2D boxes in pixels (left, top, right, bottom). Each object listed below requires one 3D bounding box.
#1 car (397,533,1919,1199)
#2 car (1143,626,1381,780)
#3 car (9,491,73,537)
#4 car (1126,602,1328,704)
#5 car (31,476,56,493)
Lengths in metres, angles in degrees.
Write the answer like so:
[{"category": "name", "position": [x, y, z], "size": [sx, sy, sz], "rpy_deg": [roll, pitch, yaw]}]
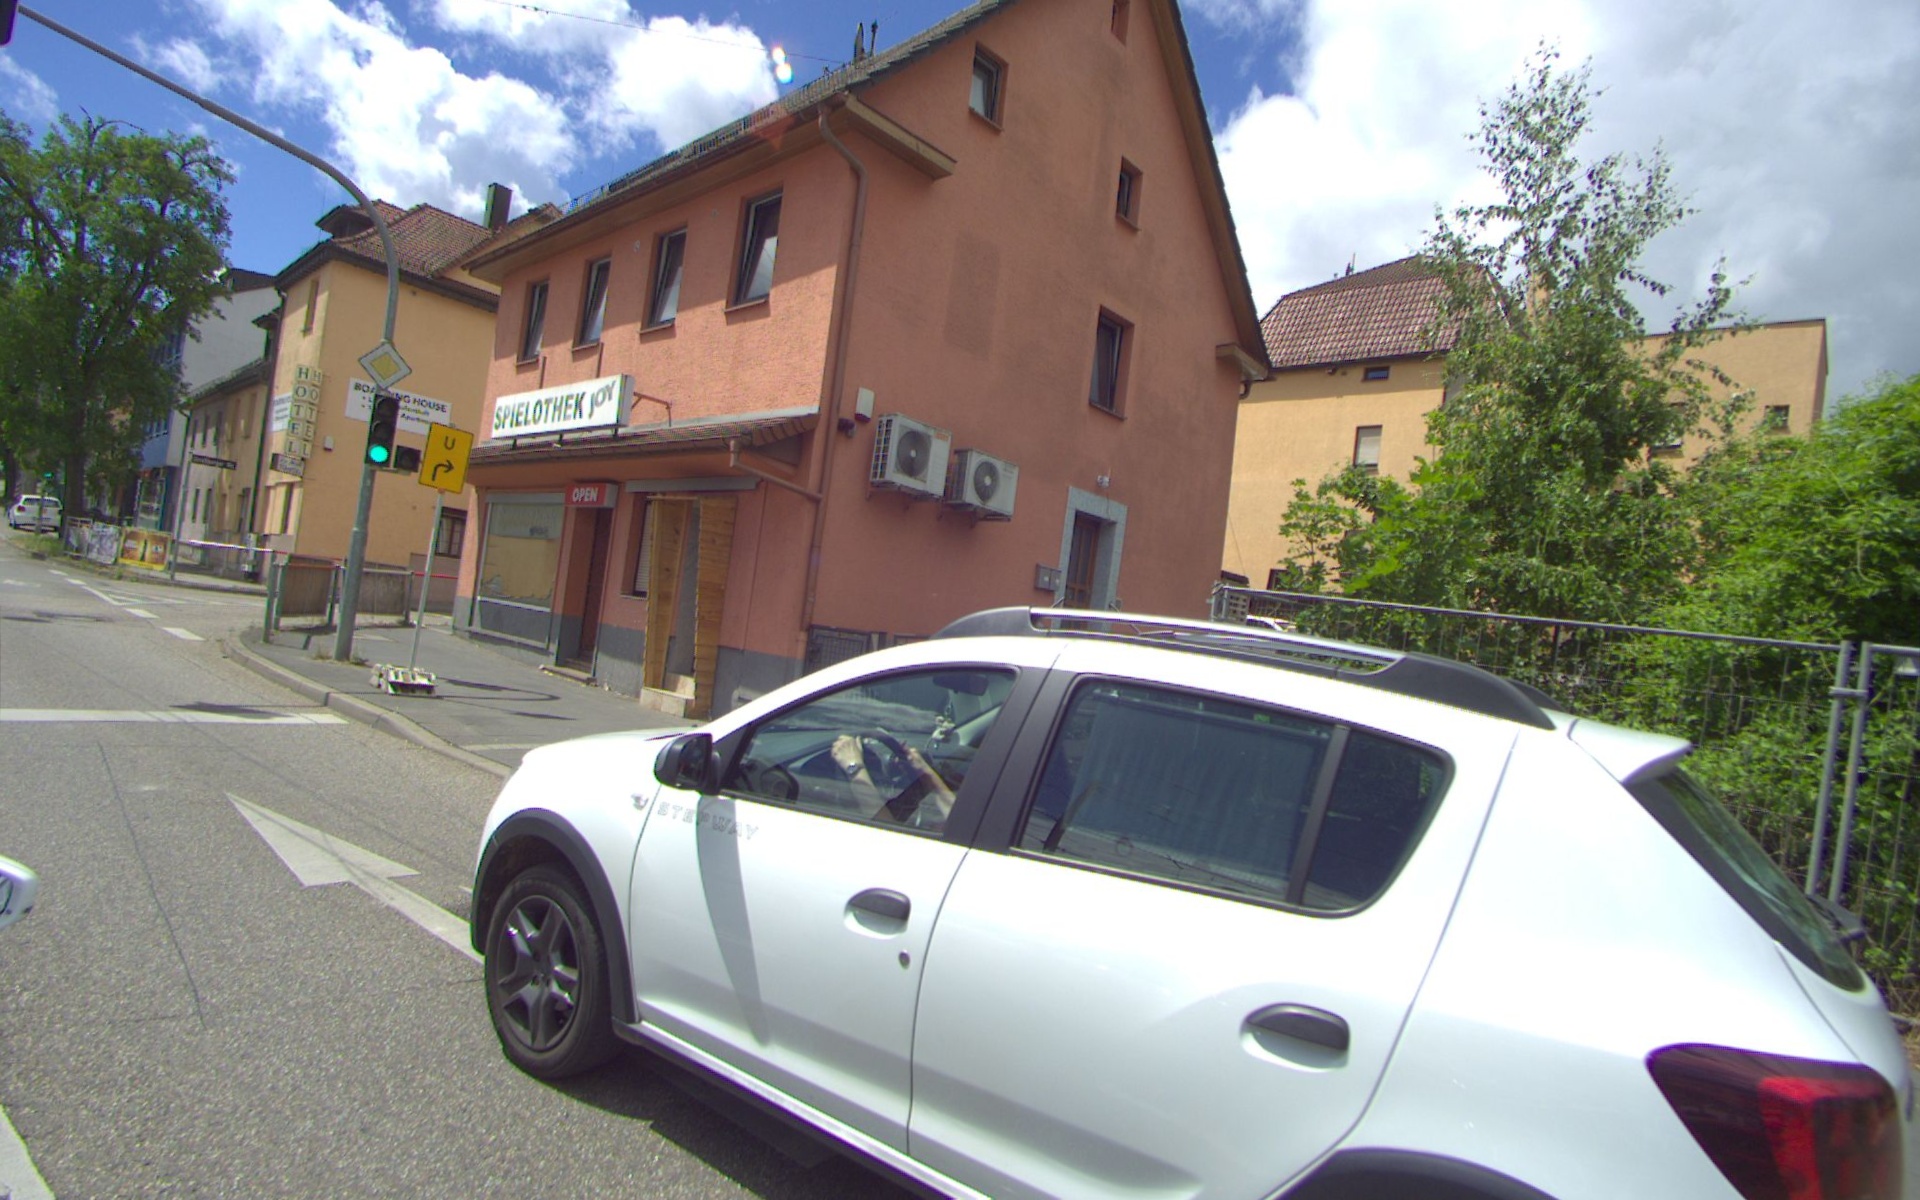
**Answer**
[{"category": "car", "position": [0.182, 0.798, 3.030], "size": [3.733, 1.569, 1.715], "rpy_deg": [7, 0, 35]}, {"category": "car", "position": [3.793, 1.198, 12.475], "size": [1.627, 1.516, 2.796], "rpy_deg": [7, 2, 43]}, {"category": "car", "position": [-39.450, -3.671, 43.157], "size": [1.782, 1.615, 3.950], "rpy_deg": [7, -1, -45]}, {"category": "car", "position": [6.211, 1.221, 23.641], "size": [3.947, 1.804, 1.990], "rpy_deg": [7, -1, 44]}, {"category": "car", "position": [-113.928, -14.322, 125.043], "size": [1.985, 1.682, 3.957], "rpy_deg": [7, -1, -39]}]
